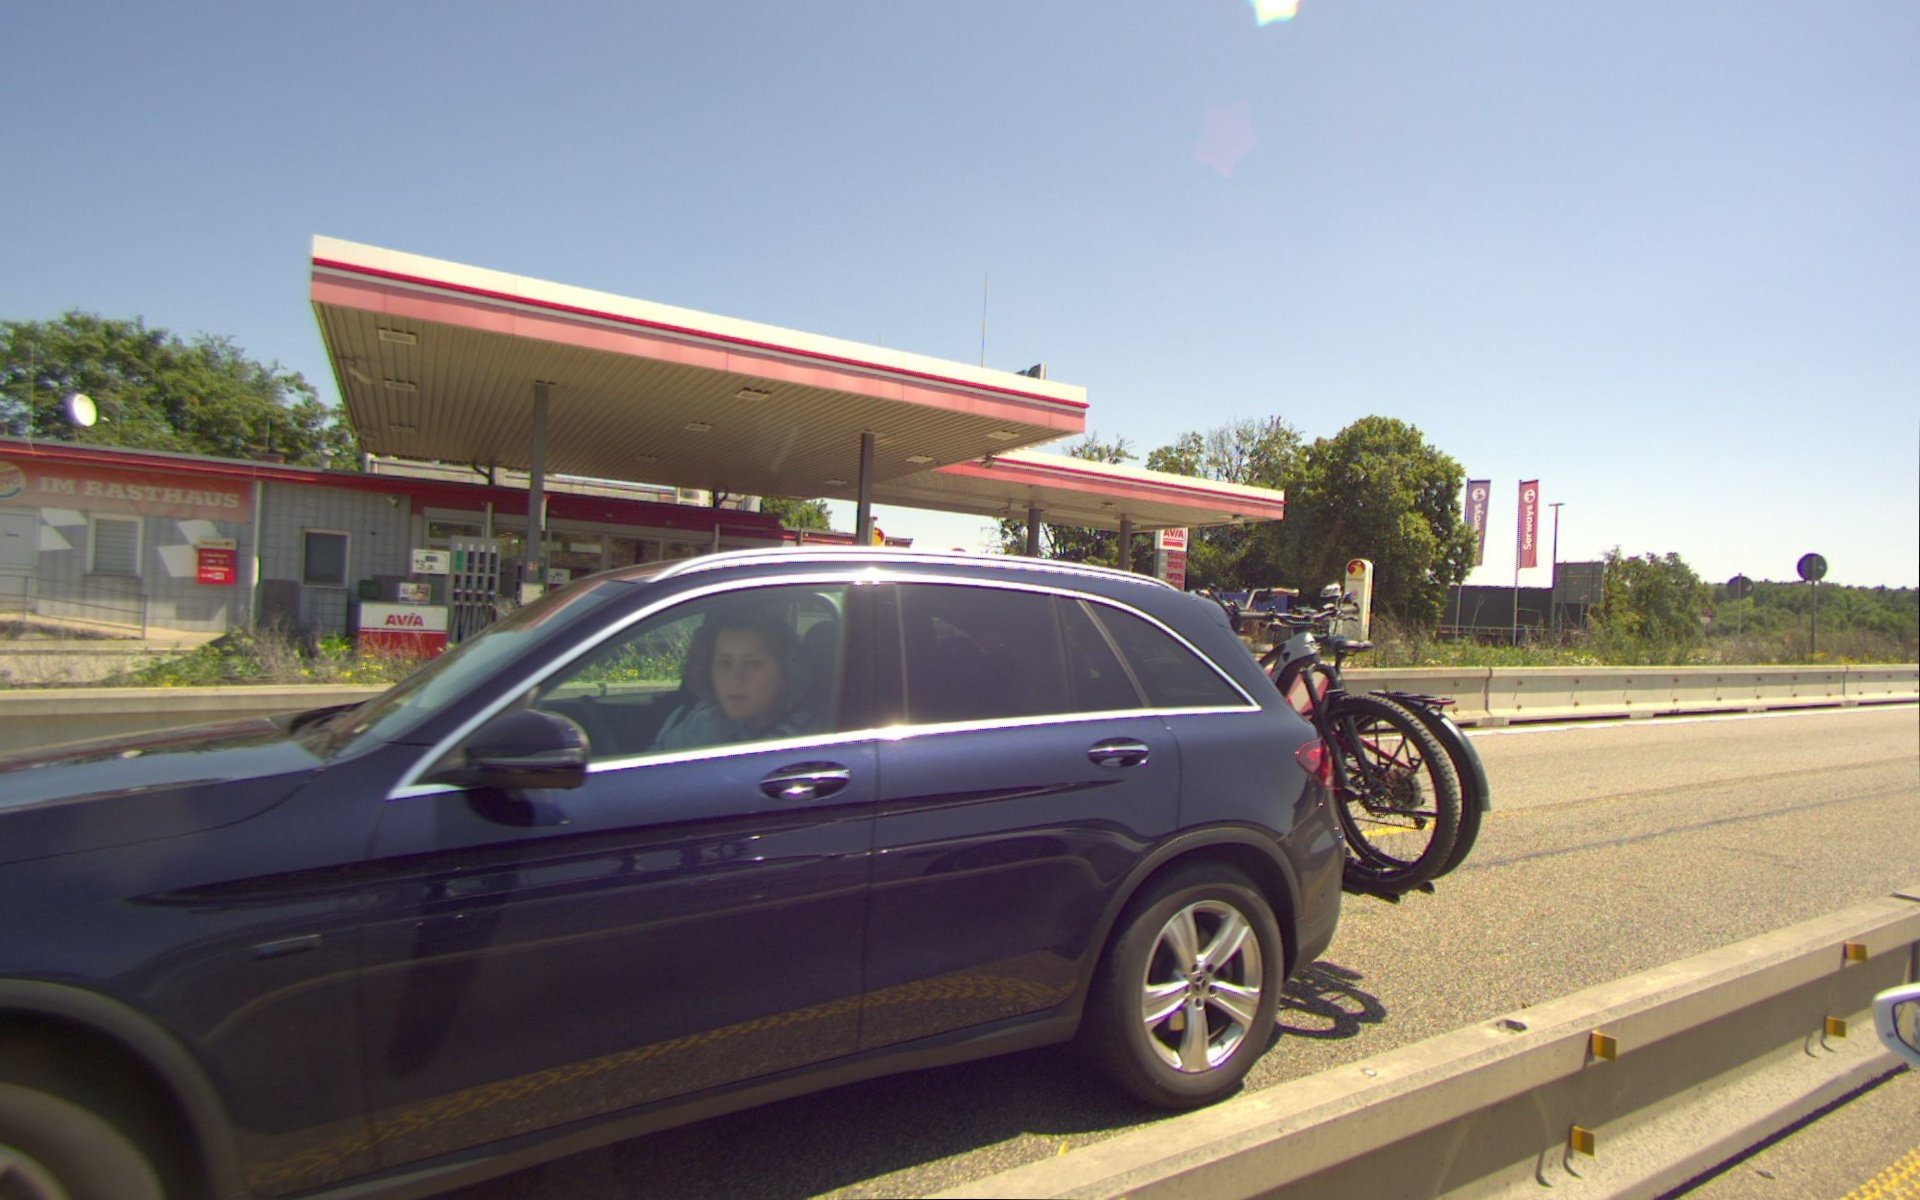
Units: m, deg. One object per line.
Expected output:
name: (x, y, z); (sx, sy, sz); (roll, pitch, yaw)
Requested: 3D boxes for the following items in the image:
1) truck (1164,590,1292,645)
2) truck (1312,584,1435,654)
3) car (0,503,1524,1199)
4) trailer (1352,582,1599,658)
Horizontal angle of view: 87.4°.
truck: (16.321, 1.061, 61.423); (6.991, 3.104, 2.824); (2, -1, -8)
truck: (25.469, 1.150, 62.081); (6.224, 4.038, 3.159); (2, -1, -3)
car: (-0.427, 0.683, 3.252); (4.680, 1.625, 1.846); (1, 0, -31)
trailer: (31.879, 1.263, 62.453); (13.890, 4.166, 3.159); (2, -1, -3)
